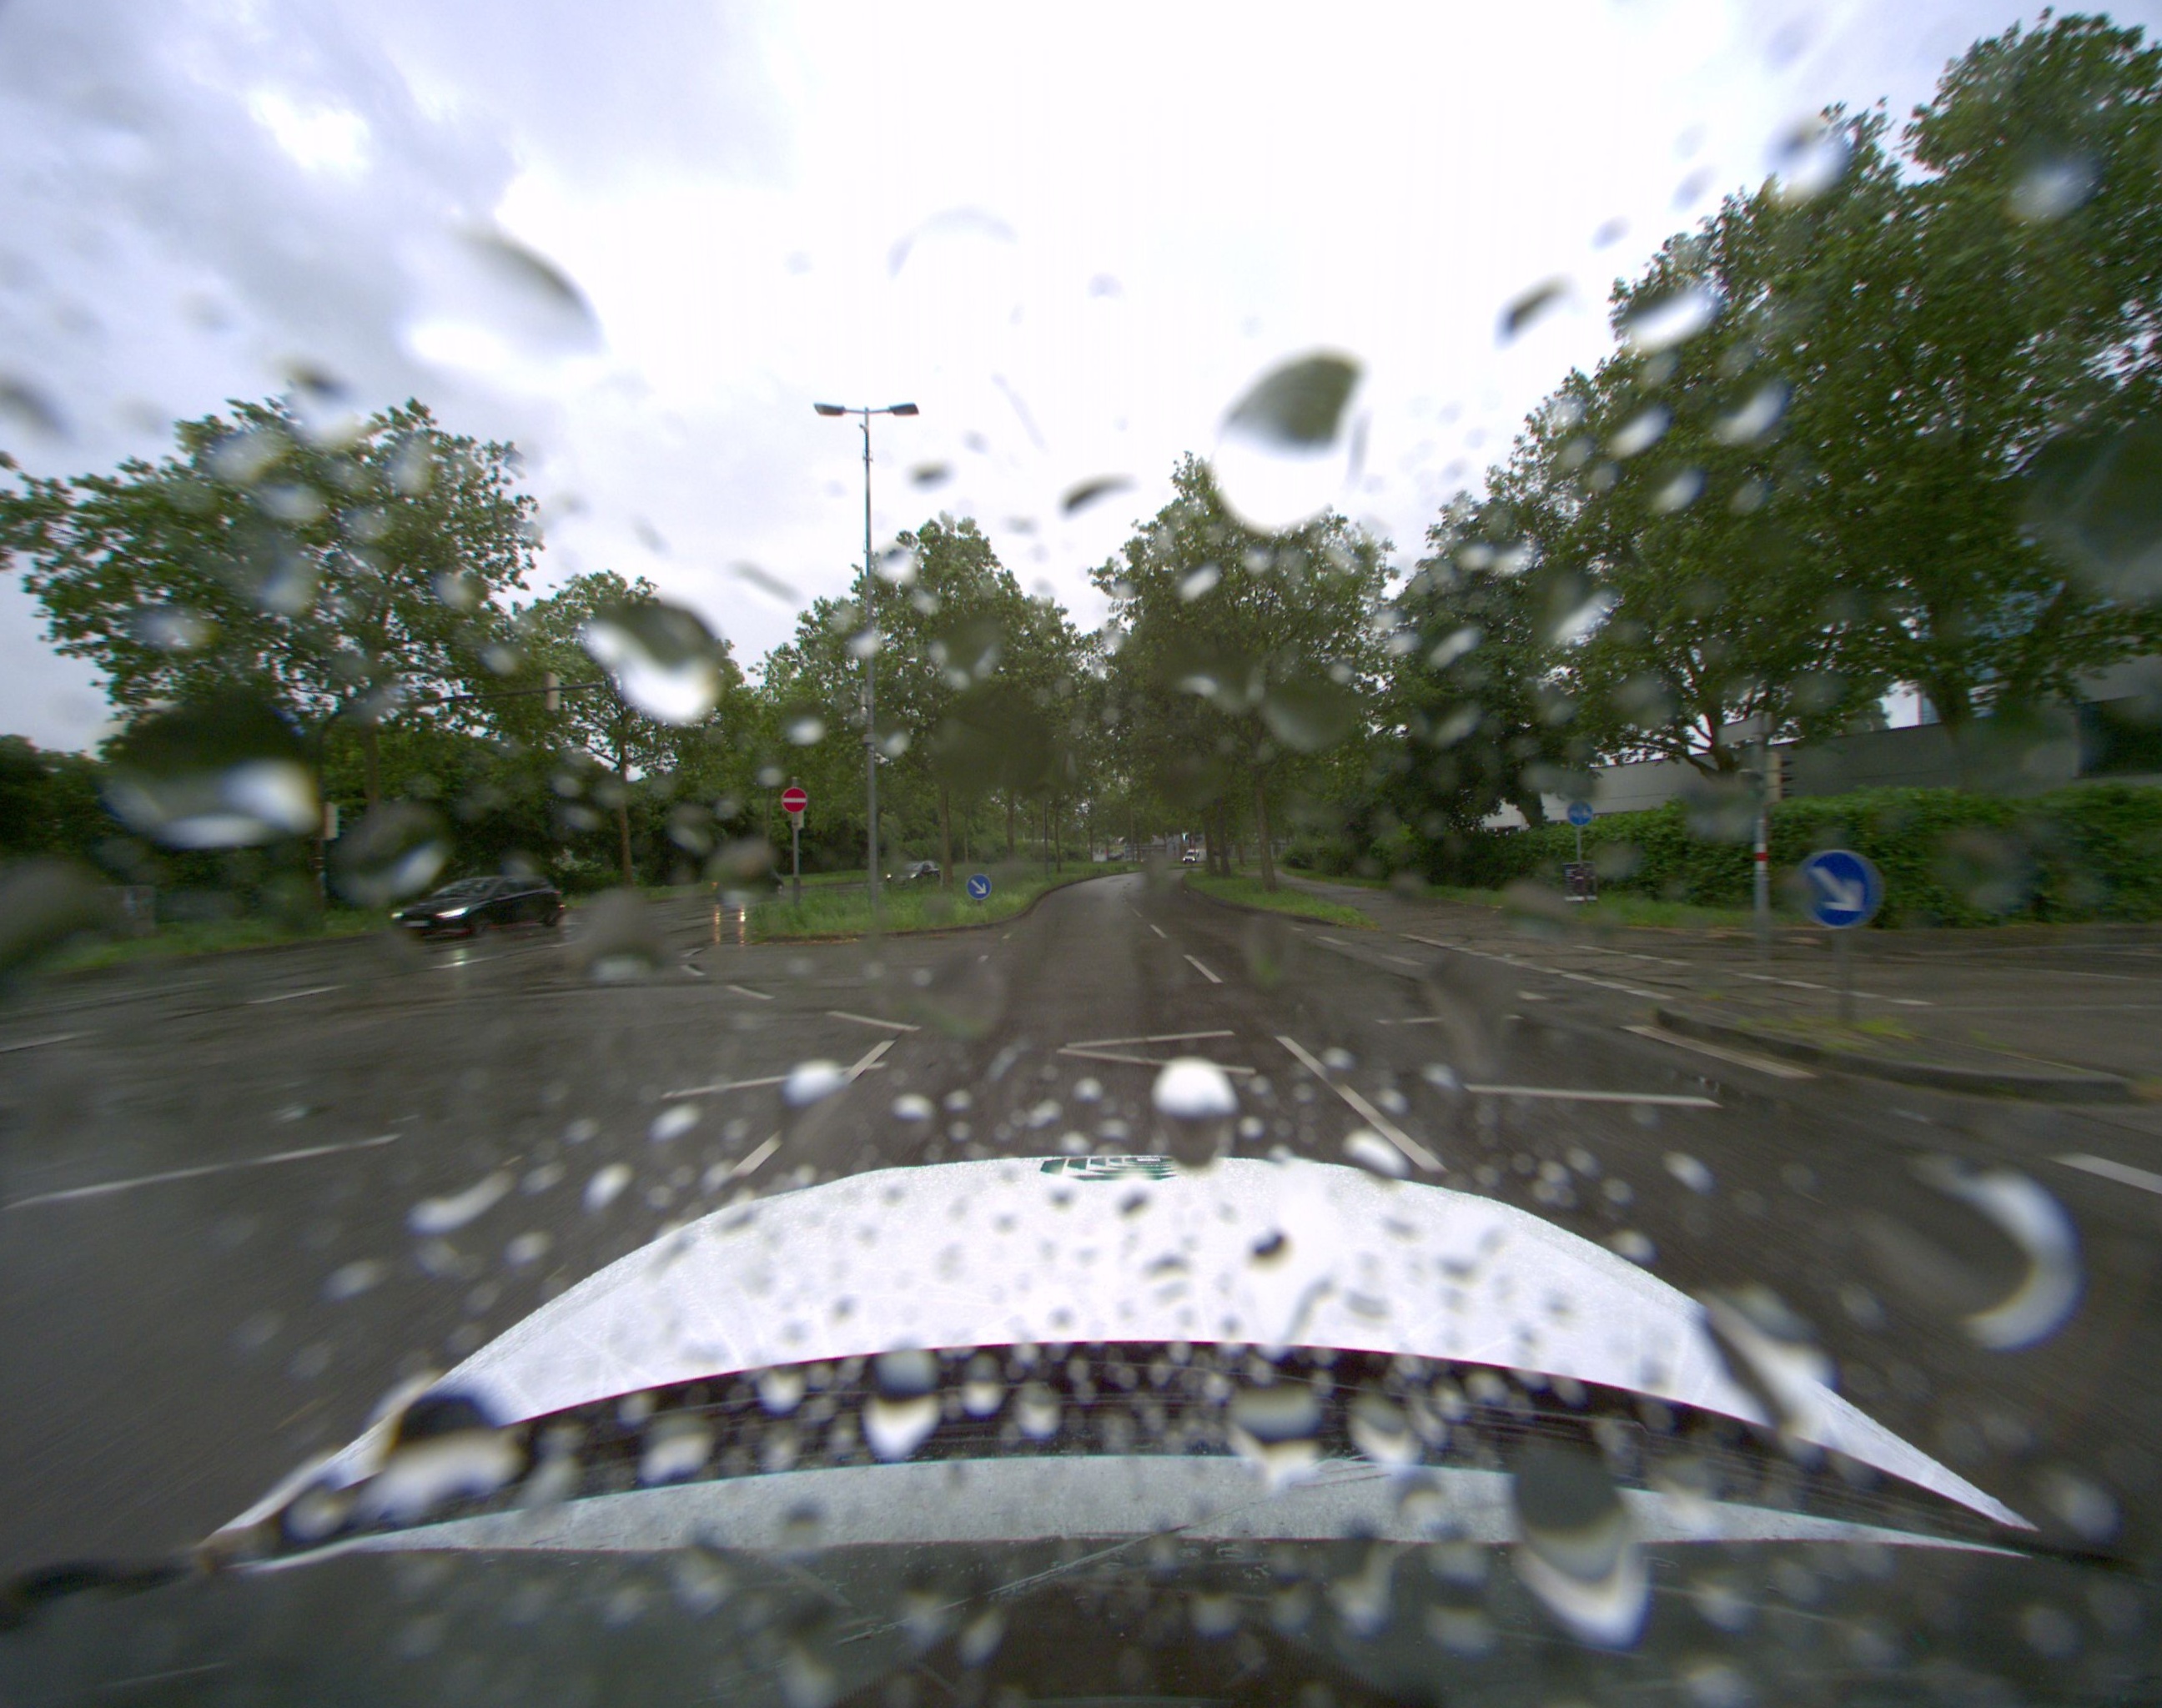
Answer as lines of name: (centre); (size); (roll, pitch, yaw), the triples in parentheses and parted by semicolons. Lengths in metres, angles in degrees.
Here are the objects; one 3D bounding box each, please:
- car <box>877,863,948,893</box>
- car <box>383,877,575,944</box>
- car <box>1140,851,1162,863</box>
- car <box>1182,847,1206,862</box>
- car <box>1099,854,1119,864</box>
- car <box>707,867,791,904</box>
car: (-9.210, 1.284, 44.963); (1.990, 1.452, 5.007); (-2, 0, 11)
car: (-15.058, 1.352, 20.707); (1.581, 1.373, 4.264); (-2, 0, 2)
car: (9.809, 0.429, 113.817); (1.956, 1.564, 4.753); (-1, 0, 18)
car: (17.886, 0.075, 128.945); (2.262, 2.271, 6.000); (-1, 0, 23)
car: (5.962, 0.994, 172.718); (3.983, 2.014, 1.995); (-1, -2, -7)
car: (-14.189, 1.300, 35.090); (1.580, 1.373, 4.267); (-2, 0, 4)
